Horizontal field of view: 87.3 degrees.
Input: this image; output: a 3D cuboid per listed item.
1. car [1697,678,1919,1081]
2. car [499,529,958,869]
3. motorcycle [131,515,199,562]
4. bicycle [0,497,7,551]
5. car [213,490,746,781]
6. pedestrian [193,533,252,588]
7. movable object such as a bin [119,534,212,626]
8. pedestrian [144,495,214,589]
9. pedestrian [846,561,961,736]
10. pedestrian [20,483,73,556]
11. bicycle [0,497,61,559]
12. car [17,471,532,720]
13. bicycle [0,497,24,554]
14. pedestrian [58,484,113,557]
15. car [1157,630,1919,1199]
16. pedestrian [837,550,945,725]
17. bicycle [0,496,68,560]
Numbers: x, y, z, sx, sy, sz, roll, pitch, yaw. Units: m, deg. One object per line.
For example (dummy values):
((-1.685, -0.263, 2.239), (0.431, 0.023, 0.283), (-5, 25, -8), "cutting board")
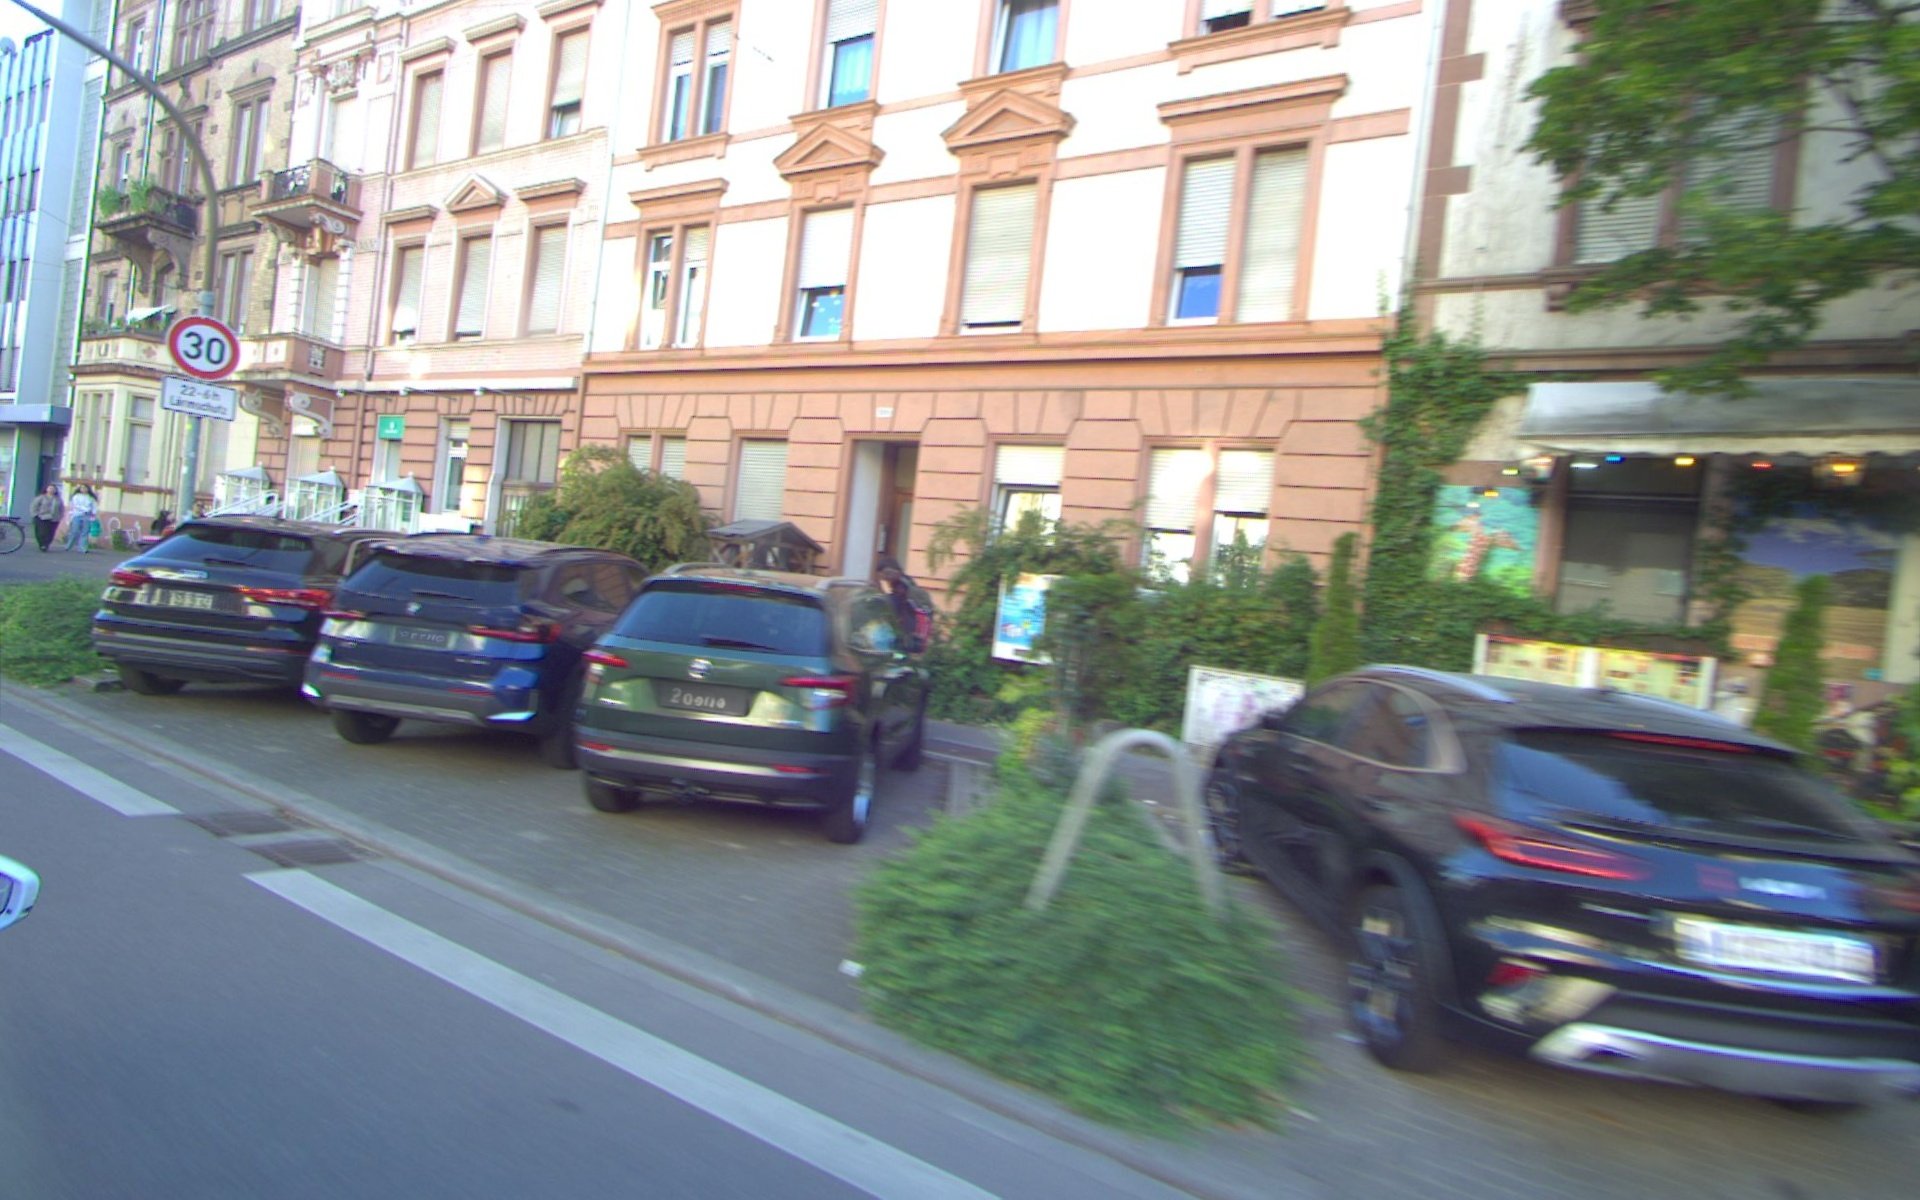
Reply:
((4.969, 1.271, 3.309), (2.049, 1.615, 4.453), (7, -1, 7), "car")
((-1.296, 0.603, 7.495), (1.922, 1.615, 4.004), (7, -1, 7), "car")
((-19.927, -1.552, 25.200), (2.477, 1.005, 0.506), (6, 3, 32), "motorcycle")
((-23.084, -1.874, 22.772), (0.653, 1.236, 2.023), (7, -1, 31), "bicycle")
((-3.534, 0.291, 8.428), (2.048, 1.615, 4.004), (7, -1, 7), "car")
((-14.359, -0.764, 19.594), (0.643, 0.994, 0.712), (7, 3, 31), "pedestrian")
((-9.987, -0.246, 12.646), (0.792, 1.040, 0.605), (7, 0, 32), "movable object such as a bin")
((-14.646, -1.082, 18.880), (0.643, 1.626, 0.713), (7, 0, 31), "pedestrian")
((-0.580, 0.486, 10.313), (0.849, 1.668, 0.518), (7, 0, 32), "pedestrian")
((-21.561, -1.894, 23.744), (0.643, 1.628, 0.712), (7, 3, 31), "pedestrian")
((-21.246, -1.668, 21.749), (0.653, 1.236, 2.543), (7, -1, 31), "bicycle")
((-6.006, 0.017, 9.637), (1.946, 1.615, 4.317), (7, -1, -2), "car")
((-22.256, -1.782, 22.294), (0.653, 1.236, 2.023), (7, -1, 31), "bicycle")
((-21.239, -1.928, 24.439), (0.643, 1.626, 0.713), (7, 0, 31), "pedestrian")
((2.568, 1.099, 5.183), (2.008, 1.615, 4.333), (7, -1, -1), "car")
((-0.756, 0.401, 11.042), (0.849, 1.799, 0.518), (7, 0, 32), "pedestrian")
((-20.180, -1.574, 21.082), (0.652, 1.236, 2.060), (7, 0, 29), "bicycle")
